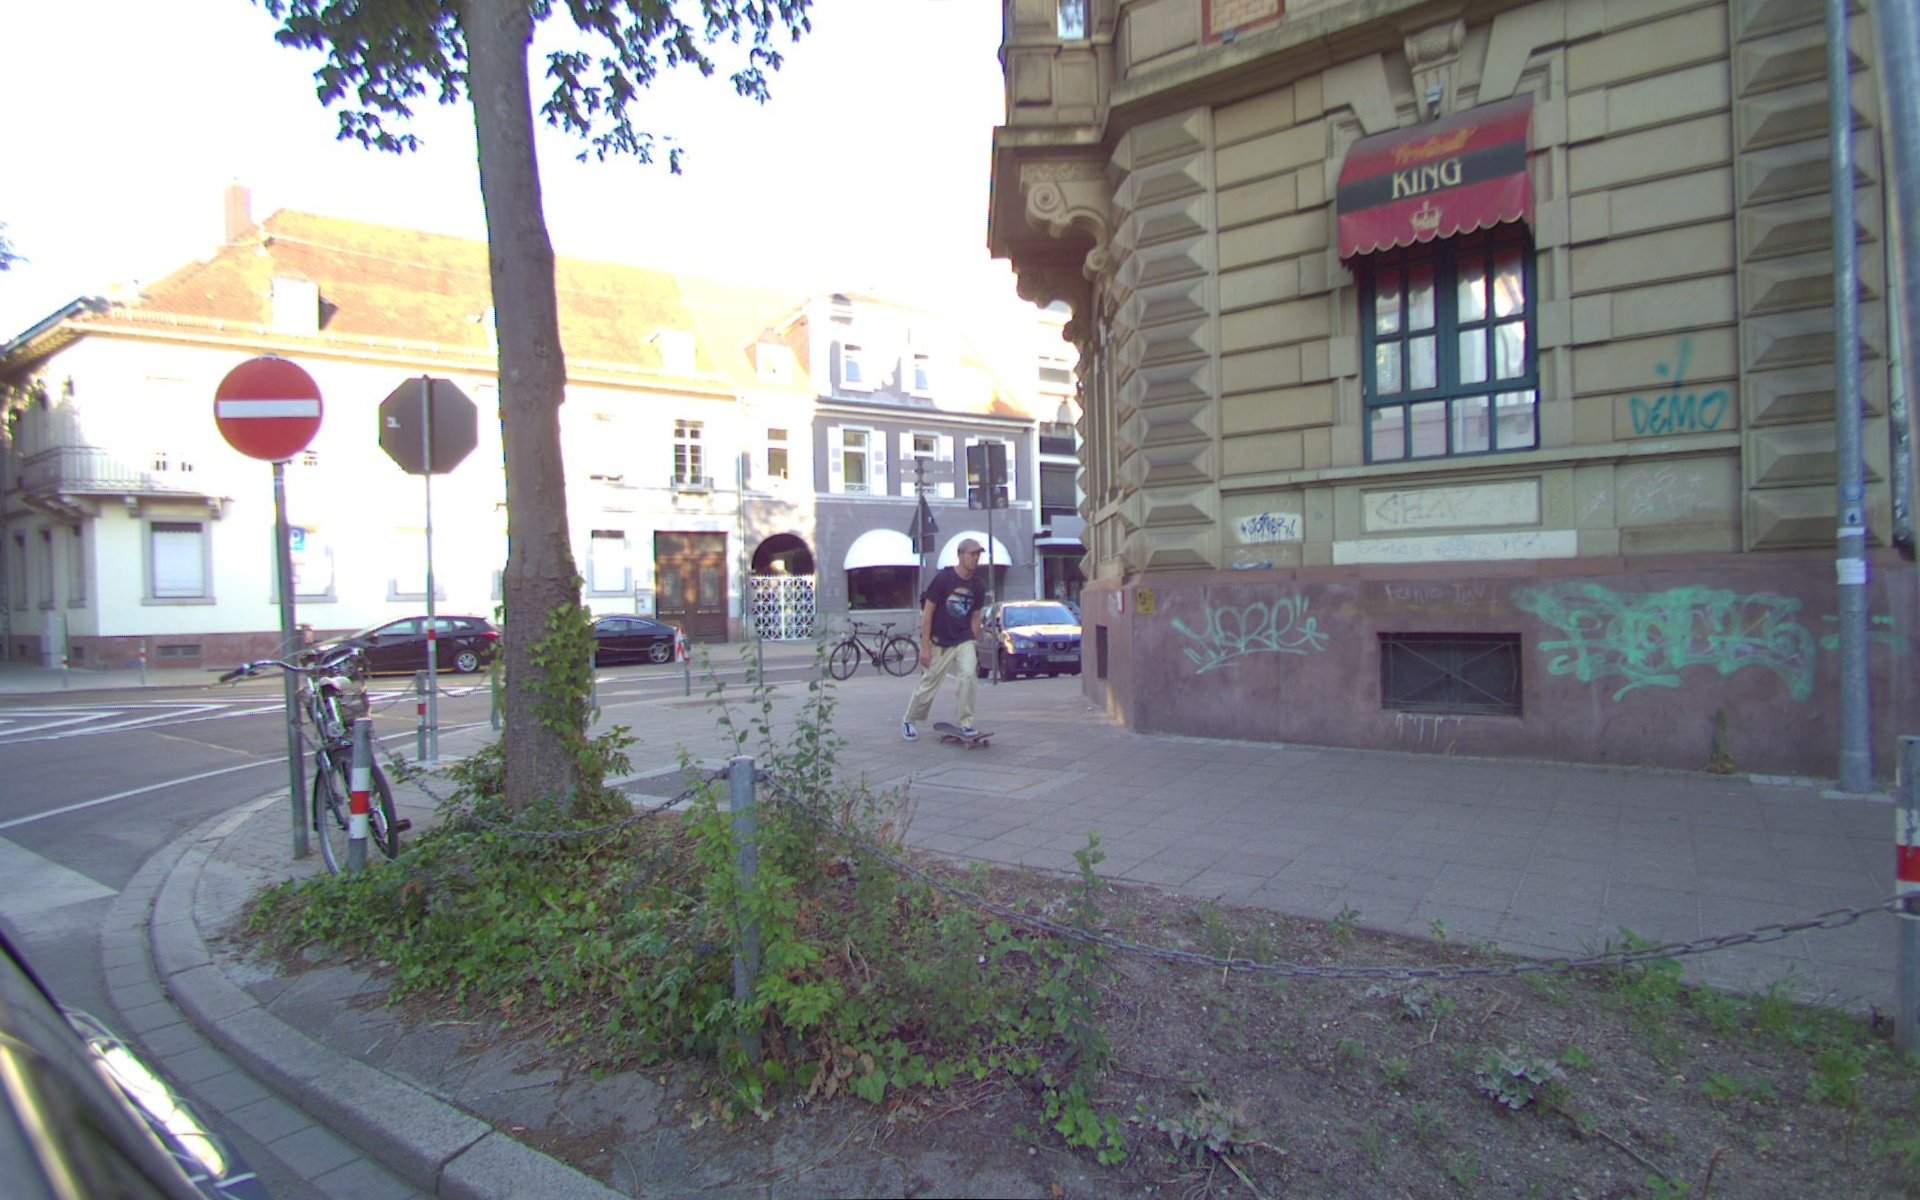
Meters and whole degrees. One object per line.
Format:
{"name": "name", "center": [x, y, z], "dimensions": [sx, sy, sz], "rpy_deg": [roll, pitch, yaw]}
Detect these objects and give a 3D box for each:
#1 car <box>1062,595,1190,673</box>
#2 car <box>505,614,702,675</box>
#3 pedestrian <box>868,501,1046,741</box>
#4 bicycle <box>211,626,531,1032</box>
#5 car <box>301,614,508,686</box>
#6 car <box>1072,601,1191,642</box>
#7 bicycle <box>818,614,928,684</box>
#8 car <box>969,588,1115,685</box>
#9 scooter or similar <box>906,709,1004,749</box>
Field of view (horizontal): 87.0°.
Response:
{"name": "car", "center": [3.593, 0.775, 22.793], "dimensions": [1.742, 1.523, 4.633], "rpy_deg": [-2, -2, -4]}
{"name": "car", "center": [-9.663, 1.167, 27.523], "dimensions": [4.775, 1.405, 1.784], "rpy_deg": [-1, -1, -31]}
{"name": "pedestrian", "center": [-0.056, 0.157, 8.158], "dimensions": [0.836, 1.752, 1.270], "rpy_deg": [-3, -1, -28]}
{"name": "bicycle", "center": [-2.736, 0.768, 4.503], "dimensions": [0.832, 1.277, 2.577], "rpy_deg": [0, -1, -39]}
{"name": "car", "center": [-13.698, 1.187, 25.074], "dimensions": [4.356, 1.553, 1.812], "rpy_deg": [-1, -1, -32]}
{"name": "car", "center": [6.523, 0.800, 38.386], "dimensions": [4.425, 1.398, 1.753], "rpy_deg": [-1, -1, -33]}
{"name": "bicycle", "center": [-1.553, 0.869, 18.073], "dimensions": [1.772, 1.134, 0.730], "rpy_deg": [-2, -3, -23]}
{"name": "car", "center": [1.312, 0.691, 17.868], "dimensions": [1.713, 1.472, 3.869], "rpy_deg": [-2, -3, -8]}
{"name": "scooter or similar", "center": [-0.055, 1.021, 8.093], "dimensions": [0.411, 0.208, 0.885], "rpy_deg": [-2, -1, -28]}
